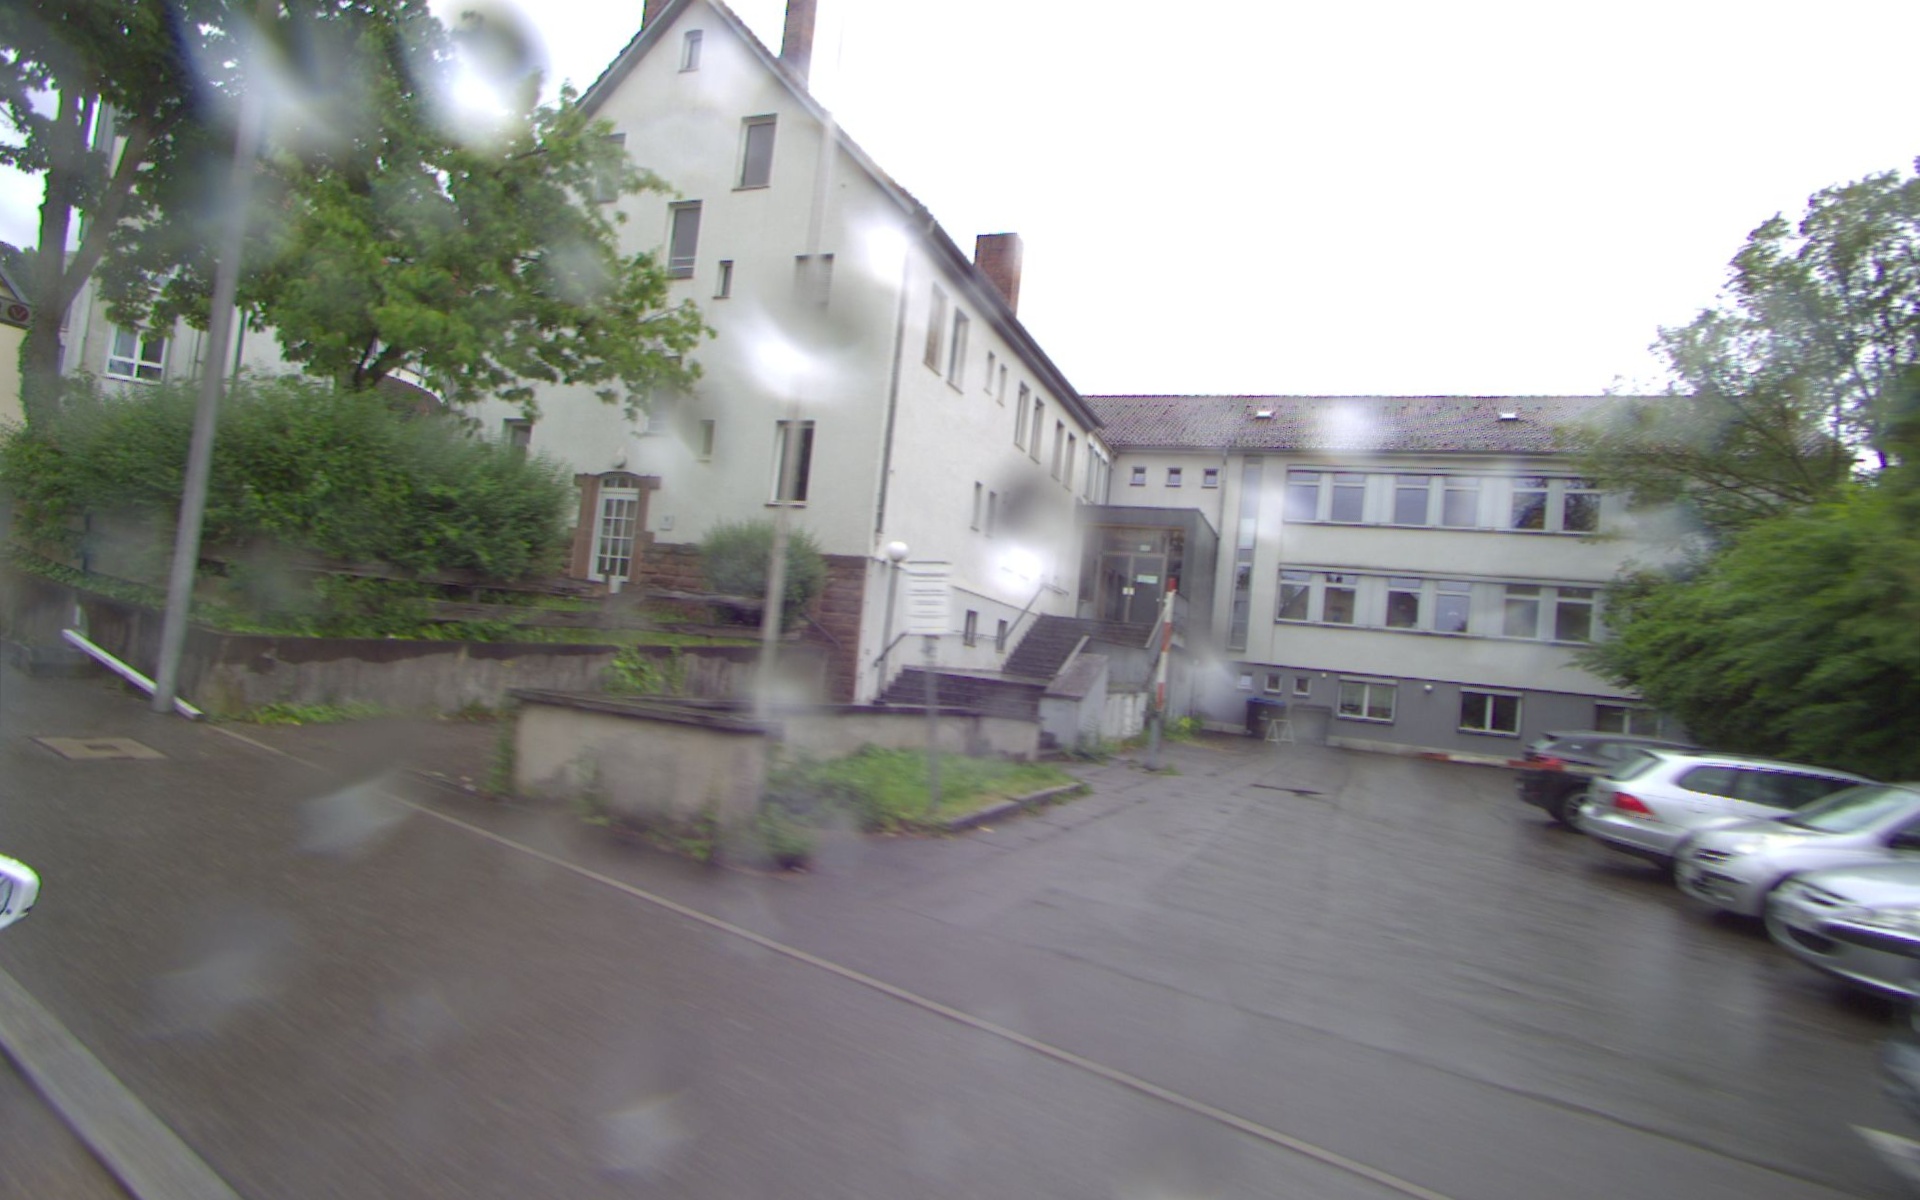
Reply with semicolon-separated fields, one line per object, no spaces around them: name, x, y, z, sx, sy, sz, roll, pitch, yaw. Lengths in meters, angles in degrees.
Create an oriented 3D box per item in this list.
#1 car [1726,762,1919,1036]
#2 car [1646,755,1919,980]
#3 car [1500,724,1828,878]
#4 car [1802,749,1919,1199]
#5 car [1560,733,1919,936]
car;7.513;2.135;6.221;3.951;1.451;1.746;8;-2;22
car;8.167;2.396;8.712;3.259;1.451;1.613;8;-2;22
car;10.368;2.908;15.184;3.653;1.451;1.765;8;-2;25
car;5.310;1.555;2.396;4.645;1.586;1.789;7;-5;27
car;8.722;2.495;11.125;3.260;1.451;1.765;8;-2;25
